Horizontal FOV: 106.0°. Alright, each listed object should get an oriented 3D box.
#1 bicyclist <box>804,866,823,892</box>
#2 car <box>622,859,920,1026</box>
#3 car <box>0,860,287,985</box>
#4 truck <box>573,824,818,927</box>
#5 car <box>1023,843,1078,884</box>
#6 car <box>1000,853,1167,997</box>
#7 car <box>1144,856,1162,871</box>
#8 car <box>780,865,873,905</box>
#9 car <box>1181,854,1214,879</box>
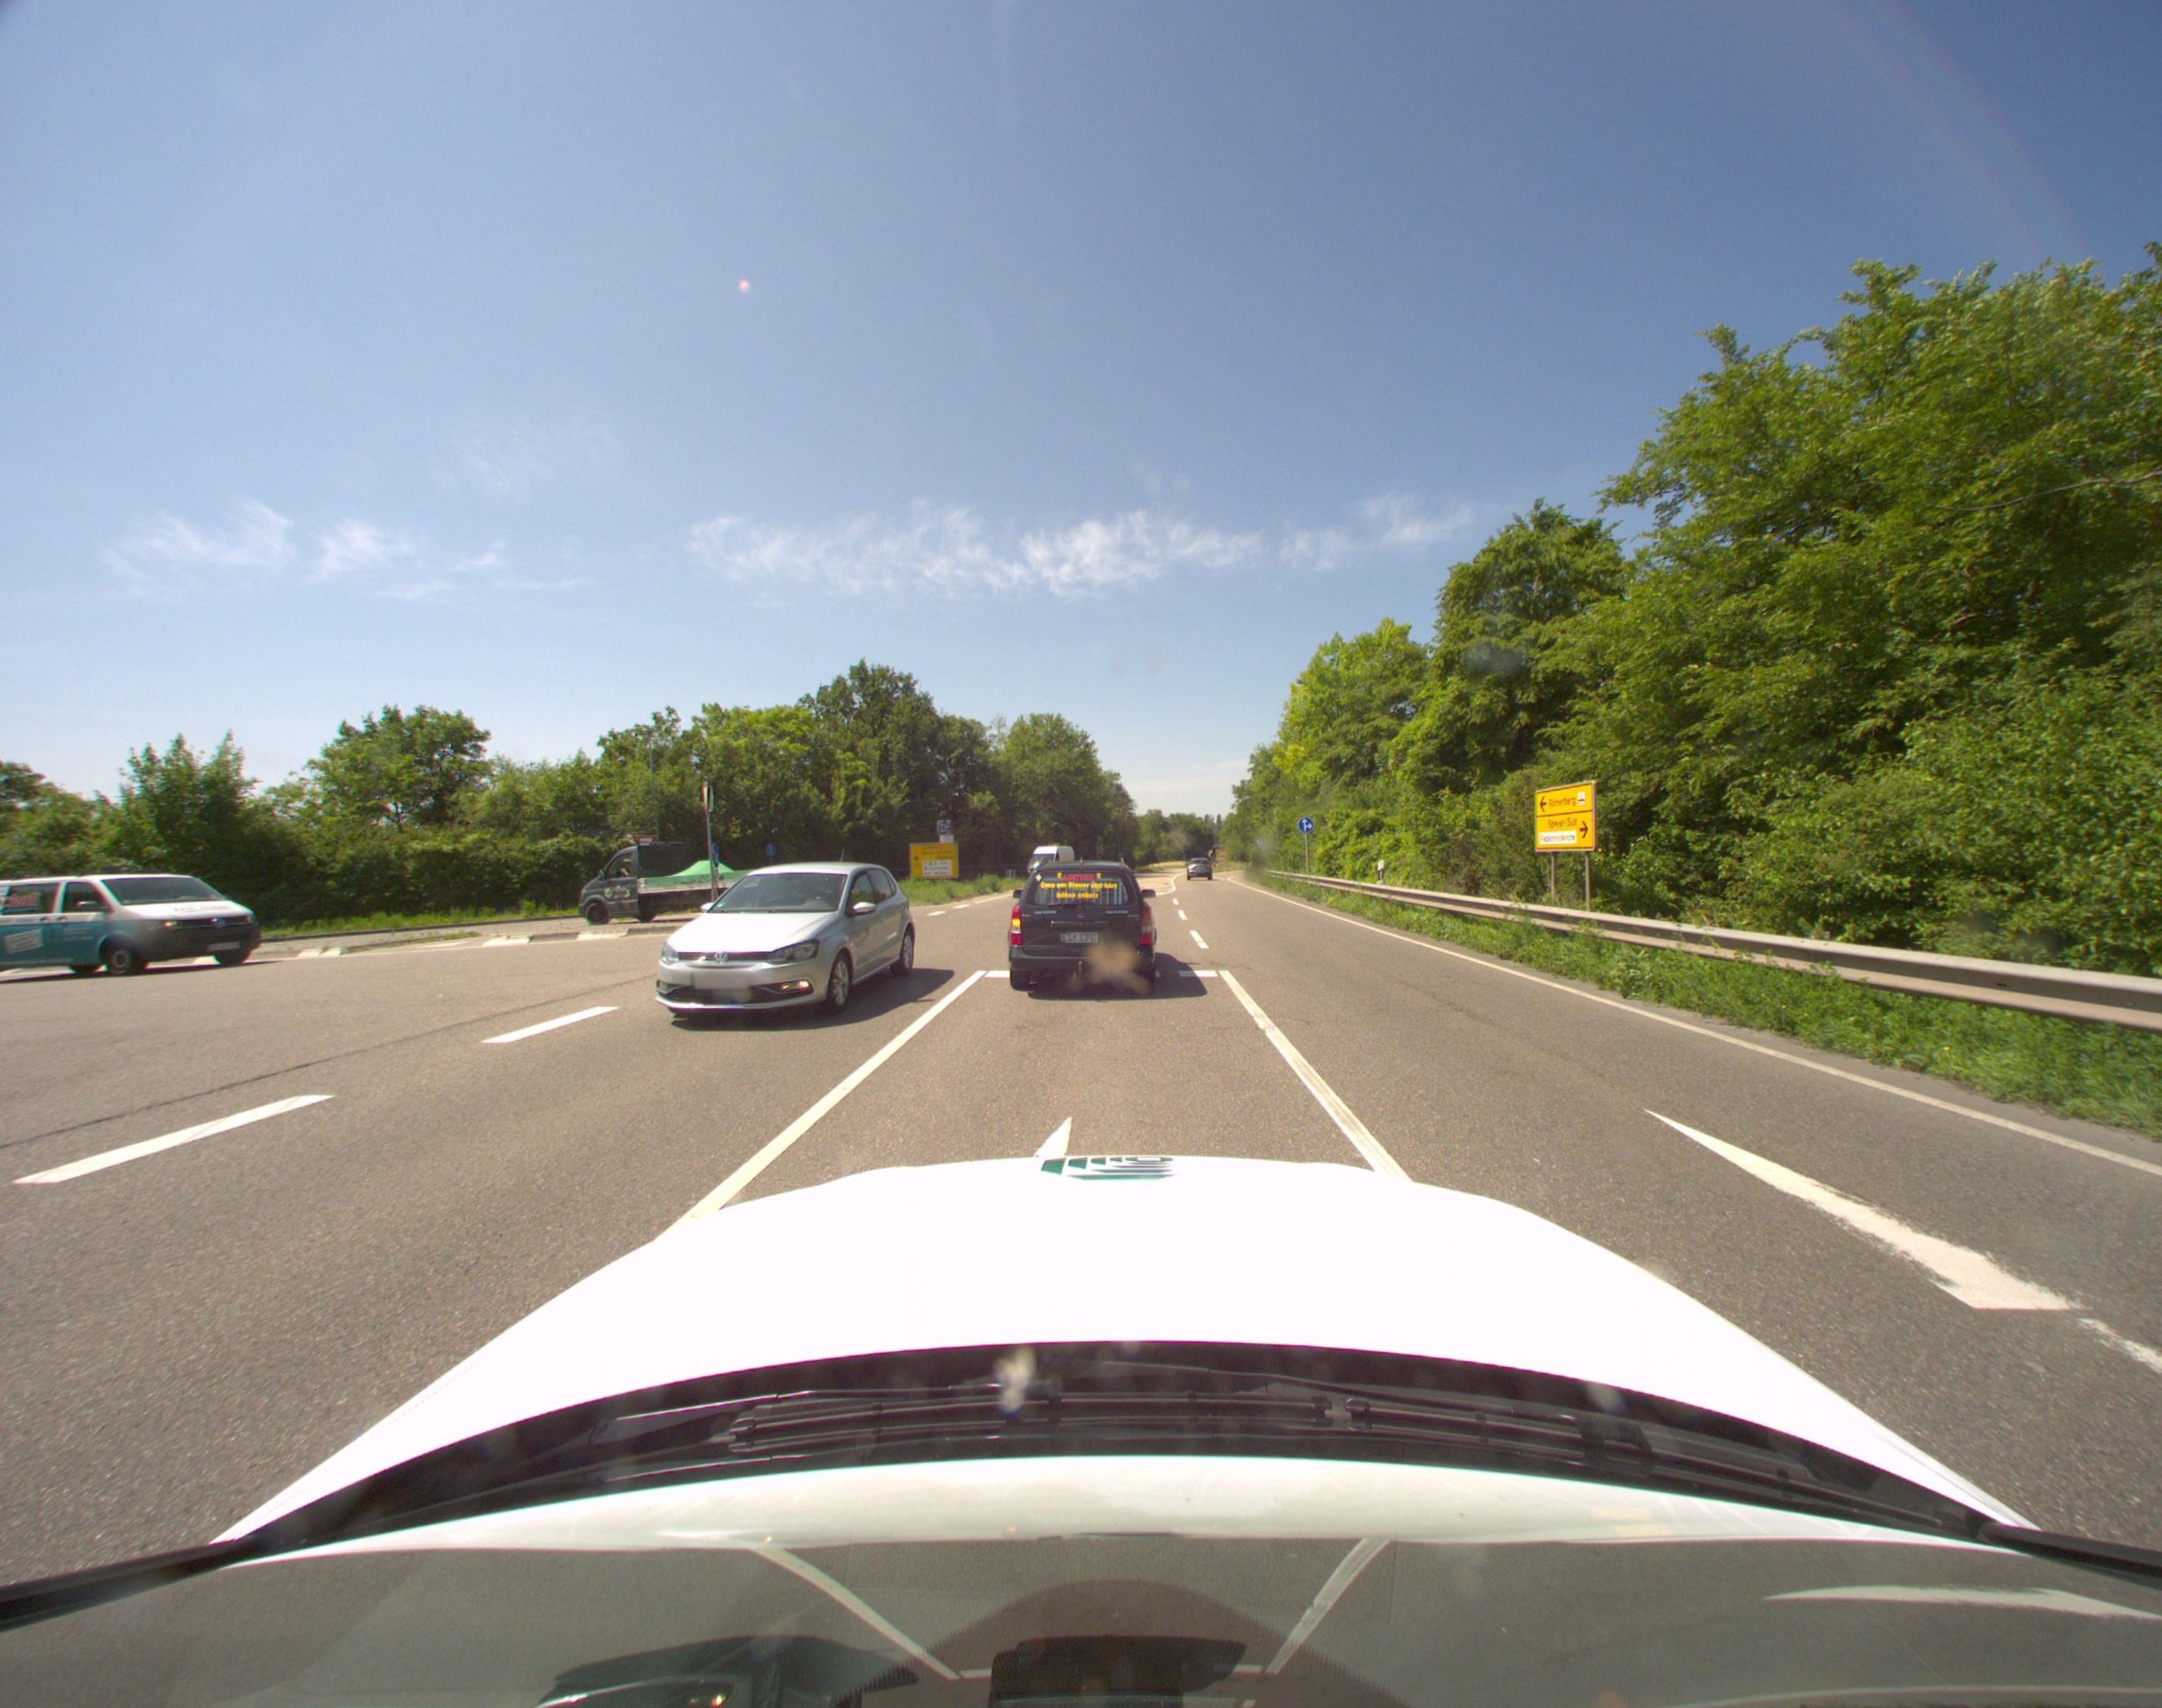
[{"bbox_3d":[-14.101,1.301,42.958,0.681,1.363,0.613,-1,0,36],"label":"bicyclist"},{"bbox_3d":[-3.047,0.771,8.893,1.638,1.419,3.768,-1,0,3],"label":"car"},{"bbox_3d":[-19.018,1.343,15.990,5.143,2.027,2.004,-5,0,7],"label":"car"},{"bbox_3d":[-11.265,0.657,23.843,6.566,2.565,2.155,-4,-1,16],"label":"truck"},{"bbox_3d":[-2.143,0.683,59.383,2.089,2.850,6.039,-1,0,17],"label":"car"},{"bbox_3d":[0.010,0.736,10.383,1.715,1.457,3.796,-1,0,-1],"label":"car"},{"bbox_3d":[16.290,2.129,184.969,2.003,3.226,4.769,-1,0,-25],"label":"car"},{"bbox_3d":[-12.062,1.436,38.794,1.656,1.662,4.026,-2,0,33],"label":"car"},{"bbox_3d":[8.301,0.878,58.242,1.837,1.684,4.001,-1,0,1],"label":"car"}]
